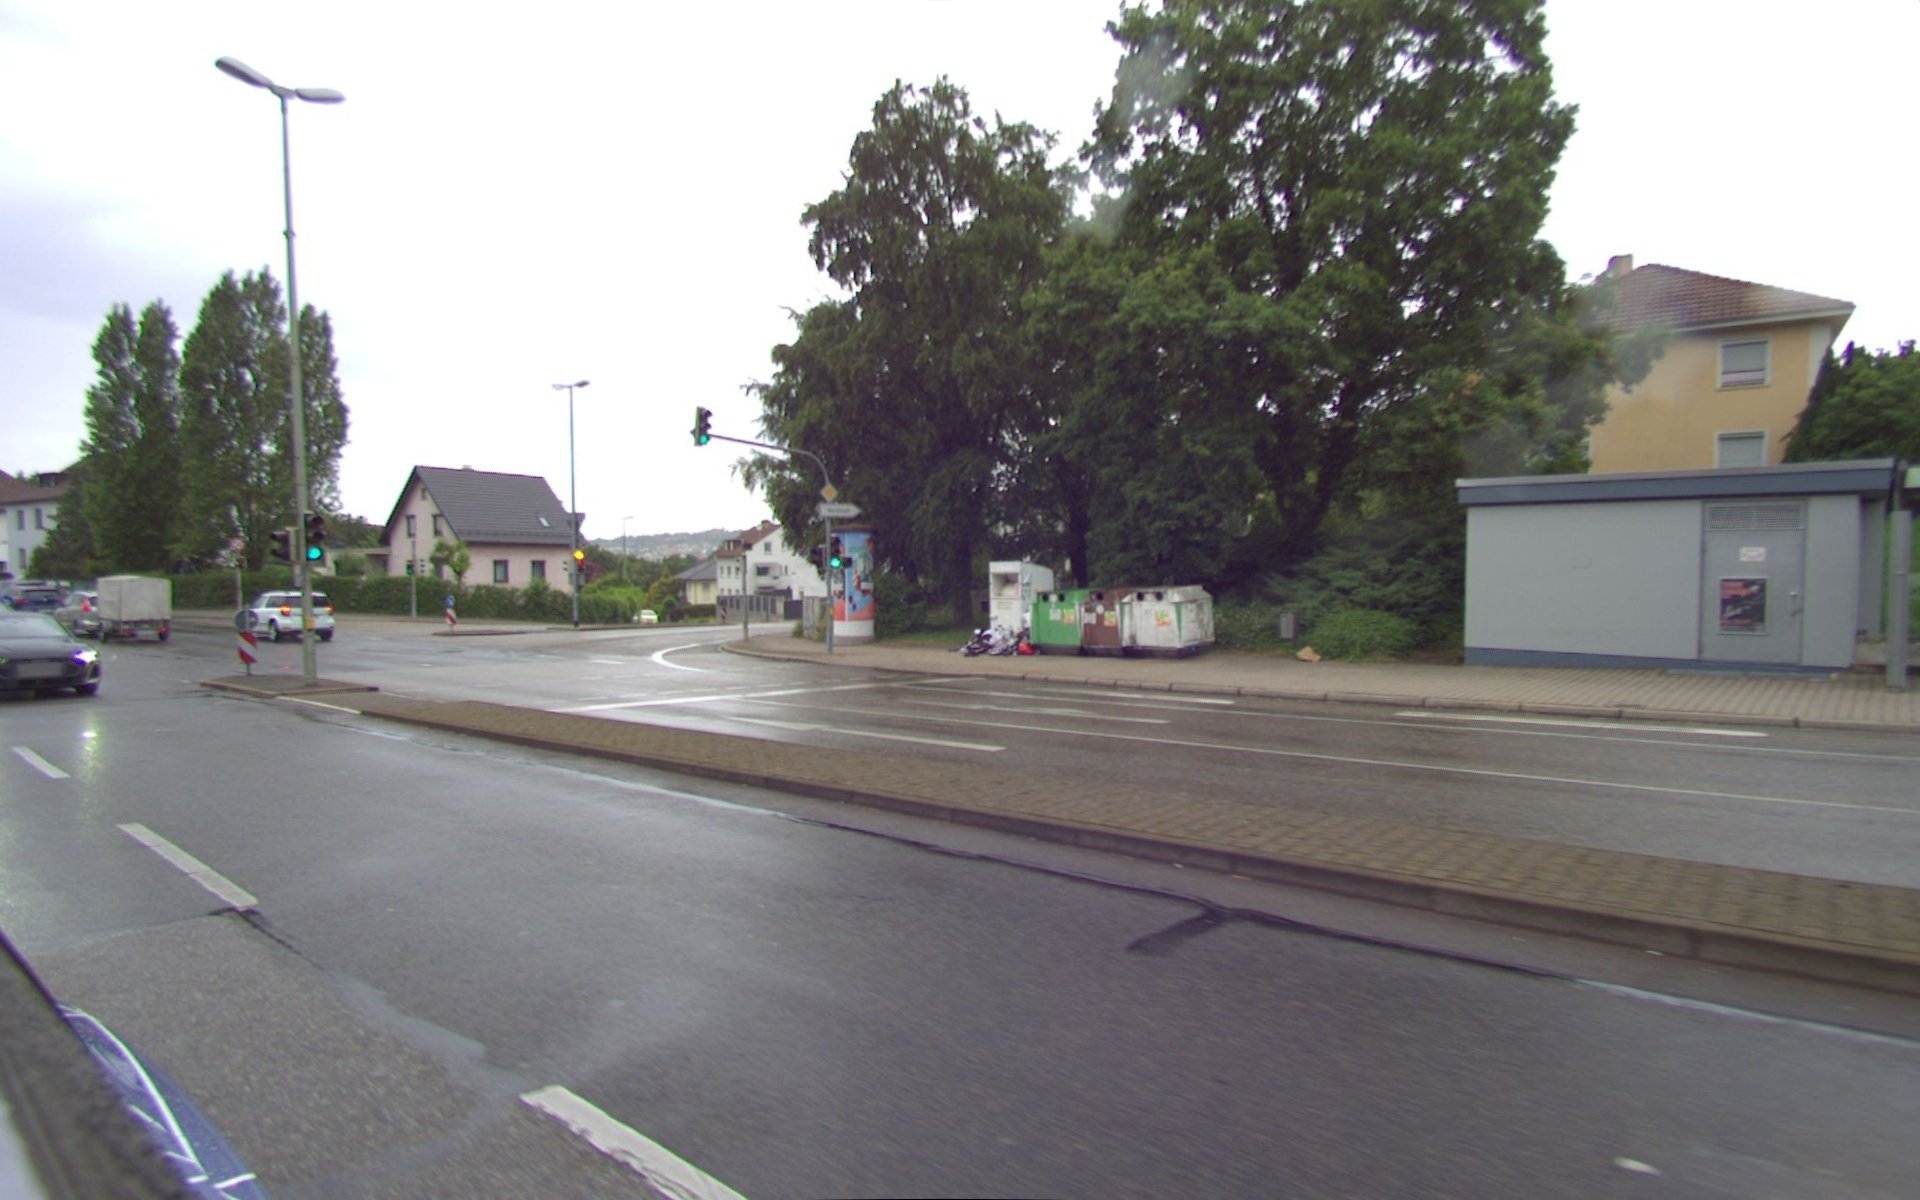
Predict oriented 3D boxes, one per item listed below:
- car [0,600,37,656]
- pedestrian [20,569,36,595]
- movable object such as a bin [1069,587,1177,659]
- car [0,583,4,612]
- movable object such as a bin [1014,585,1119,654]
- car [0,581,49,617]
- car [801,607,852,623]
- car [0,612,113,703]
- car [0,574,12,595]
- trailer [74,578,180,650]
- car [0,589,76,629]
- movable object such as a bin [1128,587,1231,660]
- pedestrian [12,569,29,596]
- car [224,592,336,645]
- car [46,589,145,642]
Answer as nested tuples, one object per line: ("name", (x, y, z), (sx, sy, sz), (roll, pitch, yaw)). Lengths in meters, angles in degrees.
("car", (-29.613, 0.786, 29.973), (4.629, 1.540, 1.897), (1, 1, 27))
("pedestrian", (-66.187, -1.303, 71.879), (0.643, 1.800, 0.649), (-4, 3, -35))
("movable object such as a bin", (3.748, 0.502, 23.220), (1.581, 1.580, 2.035), (-1, 0, 43))
("car", (-54.803, -0.201, 55.997), (4.129, 1.580, 1.791), (2, 2, 32))
("movable object such as a bin", (2.564, 0.445, 24.295), (1.581, 1.580, 2.035), (-1, 0, 43))
("car", (-49.504, -0.078, 52.751), (4.583, 1.682, 1.791), (2, 2, 32))
("car", (-11.692, 1.332, 88.745), (4.022, 1.298, 1.914), (1, 0, -25))
("car", (-17.019, 0.954, 17.826), (4.842, 1.408, 1.890), (-1, 0, 33))
("car", (-70.399, -1.031, 71.988), (1.878, 1.430, 3.958), (1, 4, 31))
("trailer", (-27.342, 0.410, 33.180), (4.031, 2.195, 1.878), (1, 1, 38))
("car", (-38.612, 0.332, 42.113), (4.375, 1.563, 1.825), (1, 1, 36))
("movable object such as a bin", (4.820, 0.489, 22.163), (1.344, 1.526, 2.035), (-1, 0, 43))
("pedestrian", (-64.909, -1.200, 69.920), (0.538, 1.801, 0.663), (2, 5, 35))
("car", (-23.438, 0.603, 34.842), (4.458, 1.669, 1.807), (1, 1, 36))
("car", (-30.675, 0.495, 35.865), (4.474, 1.695, 1.881), (2, 2, 39))
